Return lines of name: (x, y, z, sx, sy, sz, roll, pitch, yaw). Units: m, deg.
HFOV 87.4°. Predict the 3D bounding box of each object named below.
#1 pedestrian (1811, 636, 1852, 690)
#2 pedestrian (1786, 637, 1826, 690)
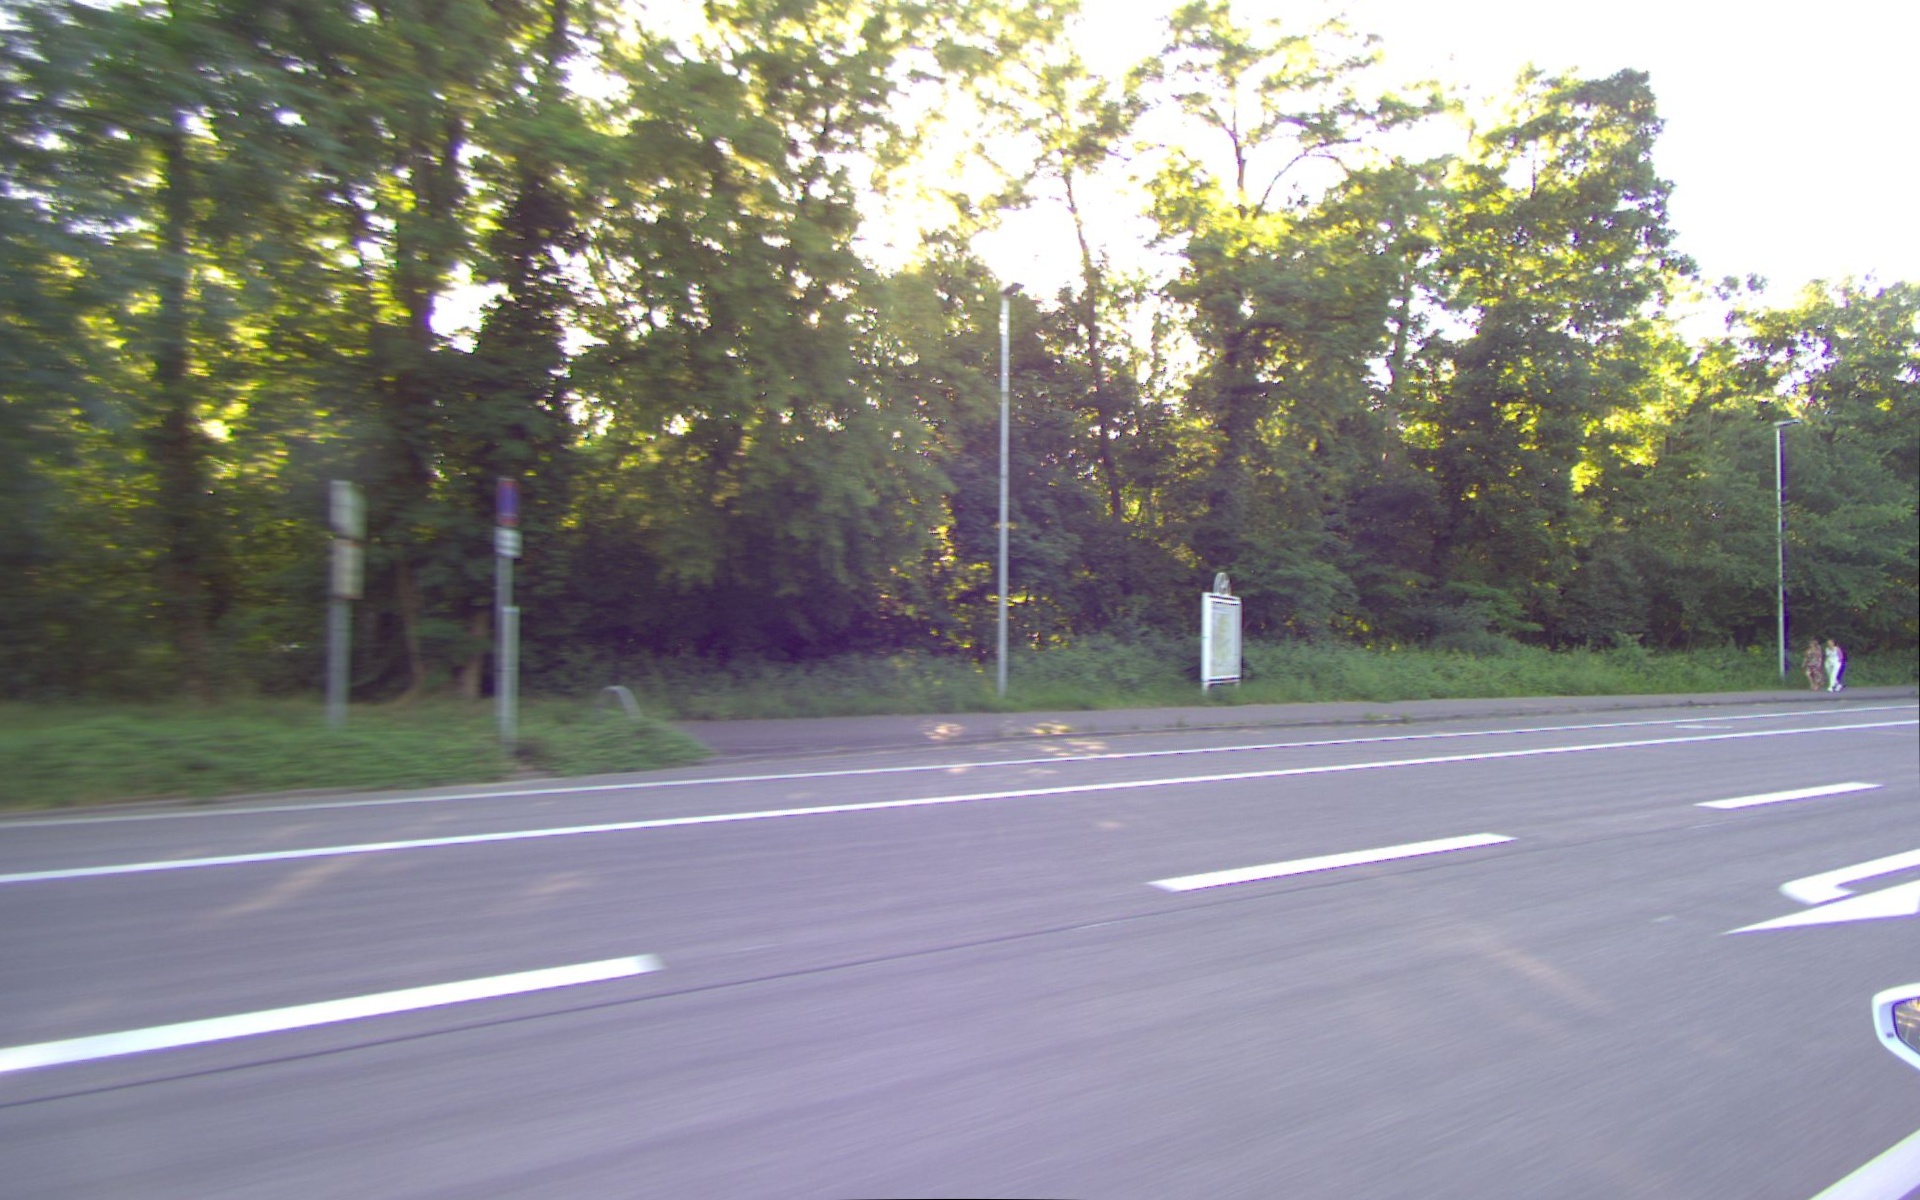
pedestrian: (27.362, 1.975, 31.537, 0.779, 1.675, 0.673, 1, -2, -24)
pedestrian: (27.092, 2.012, 32.163, 0.779, 1.675, 0.673, 1, -2, -24)
